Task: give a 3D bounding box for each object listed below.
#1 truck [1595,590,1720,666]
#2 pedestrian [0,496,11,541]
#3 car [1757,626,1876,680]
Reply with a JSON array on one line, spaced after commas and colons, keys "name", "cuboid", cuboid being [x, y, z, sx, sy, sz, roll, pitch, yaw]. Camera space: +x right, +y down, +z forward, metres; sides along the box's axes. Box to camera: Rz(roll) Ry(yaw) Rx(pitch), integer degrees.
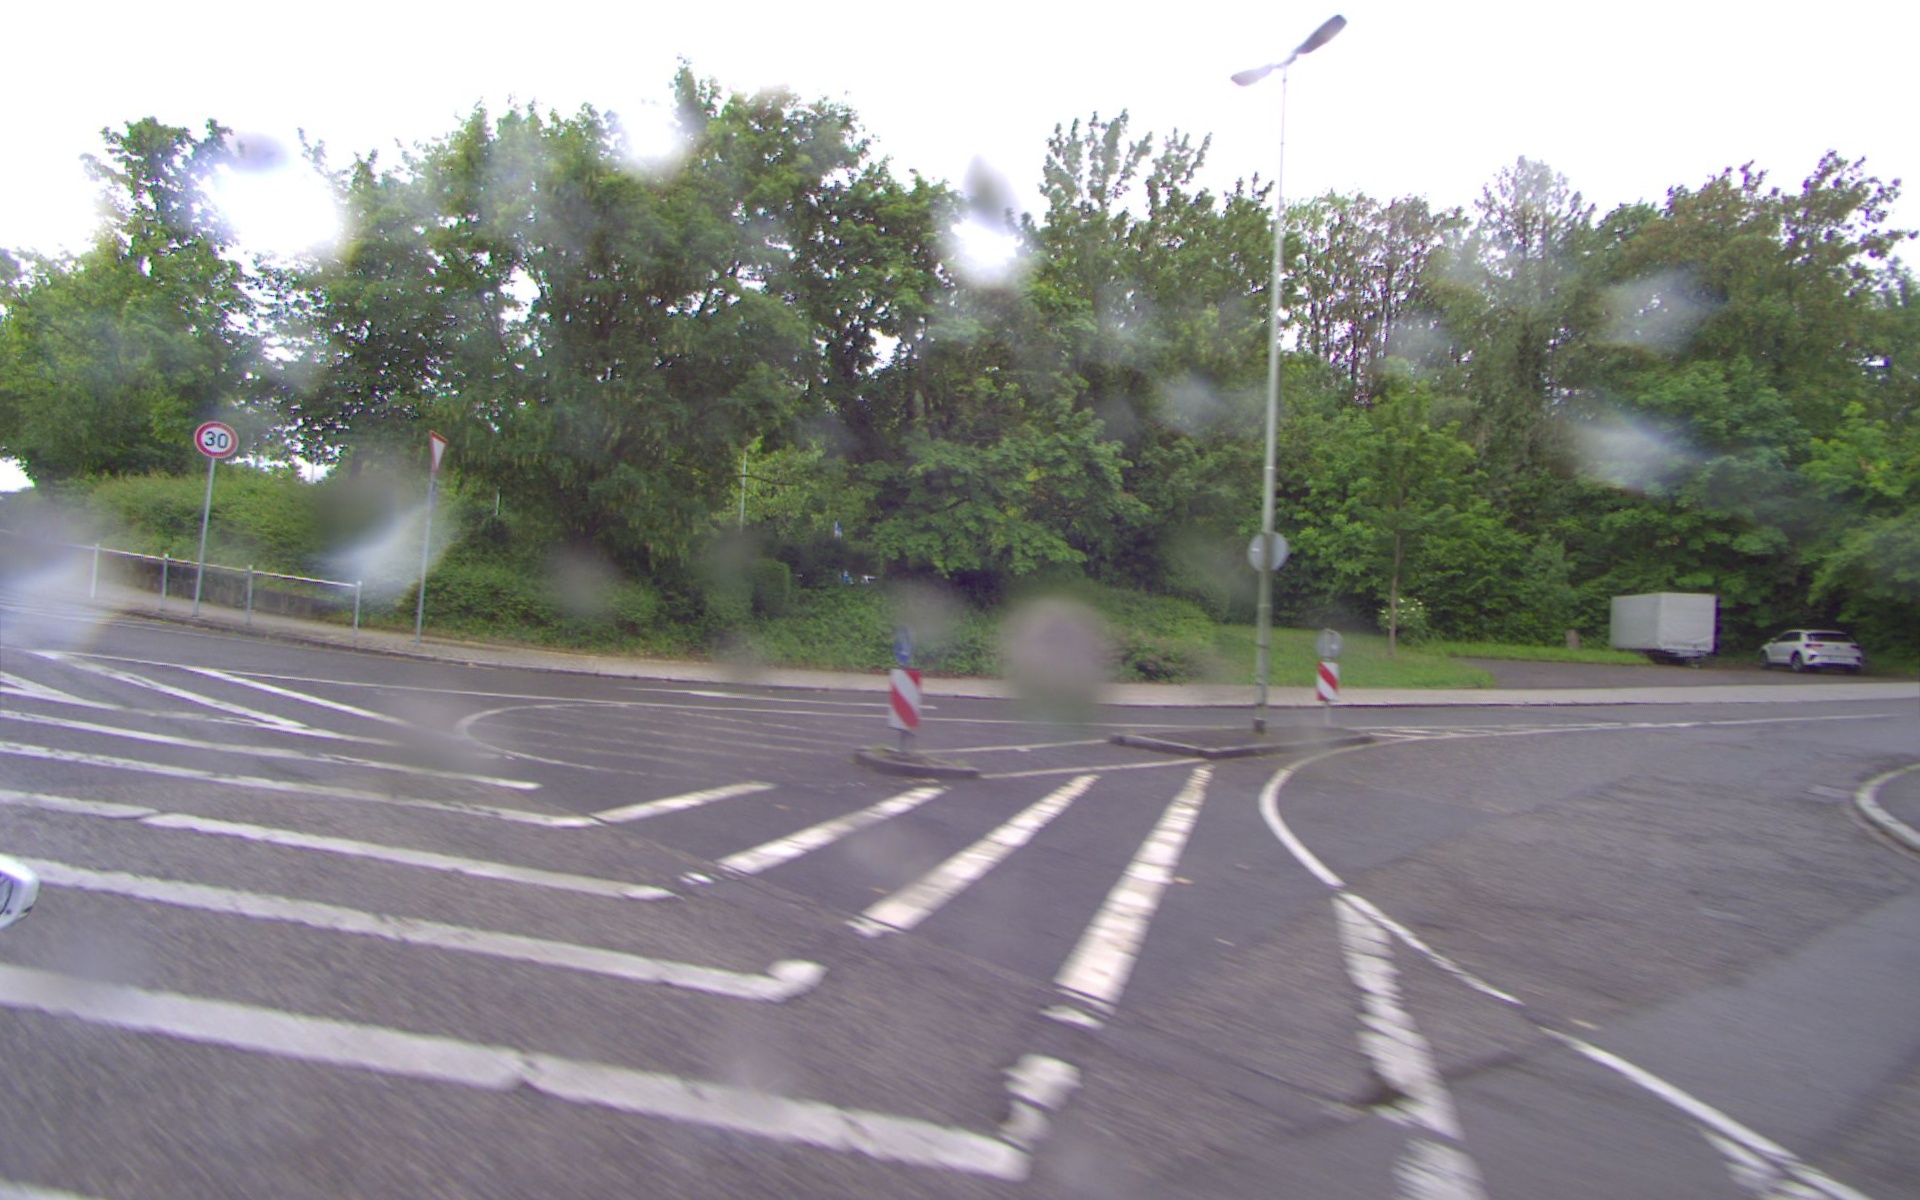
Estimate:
[{"name": "truck", "cuboid": [27.793, 1.057, 40.347, 1.922, 2.732, 5.573, 4, 1, 12]}, {"name": "pedestrian", "cuboid": [-38.978, -3.324, 40.373, 1.150, 1.744, 1.082, 6, 1, 40]}, {"name": "car", "cuboid": [31.045, 1.870, 36.604, 1.812, 1.642, 3.618, 7, 1, 17]}]
